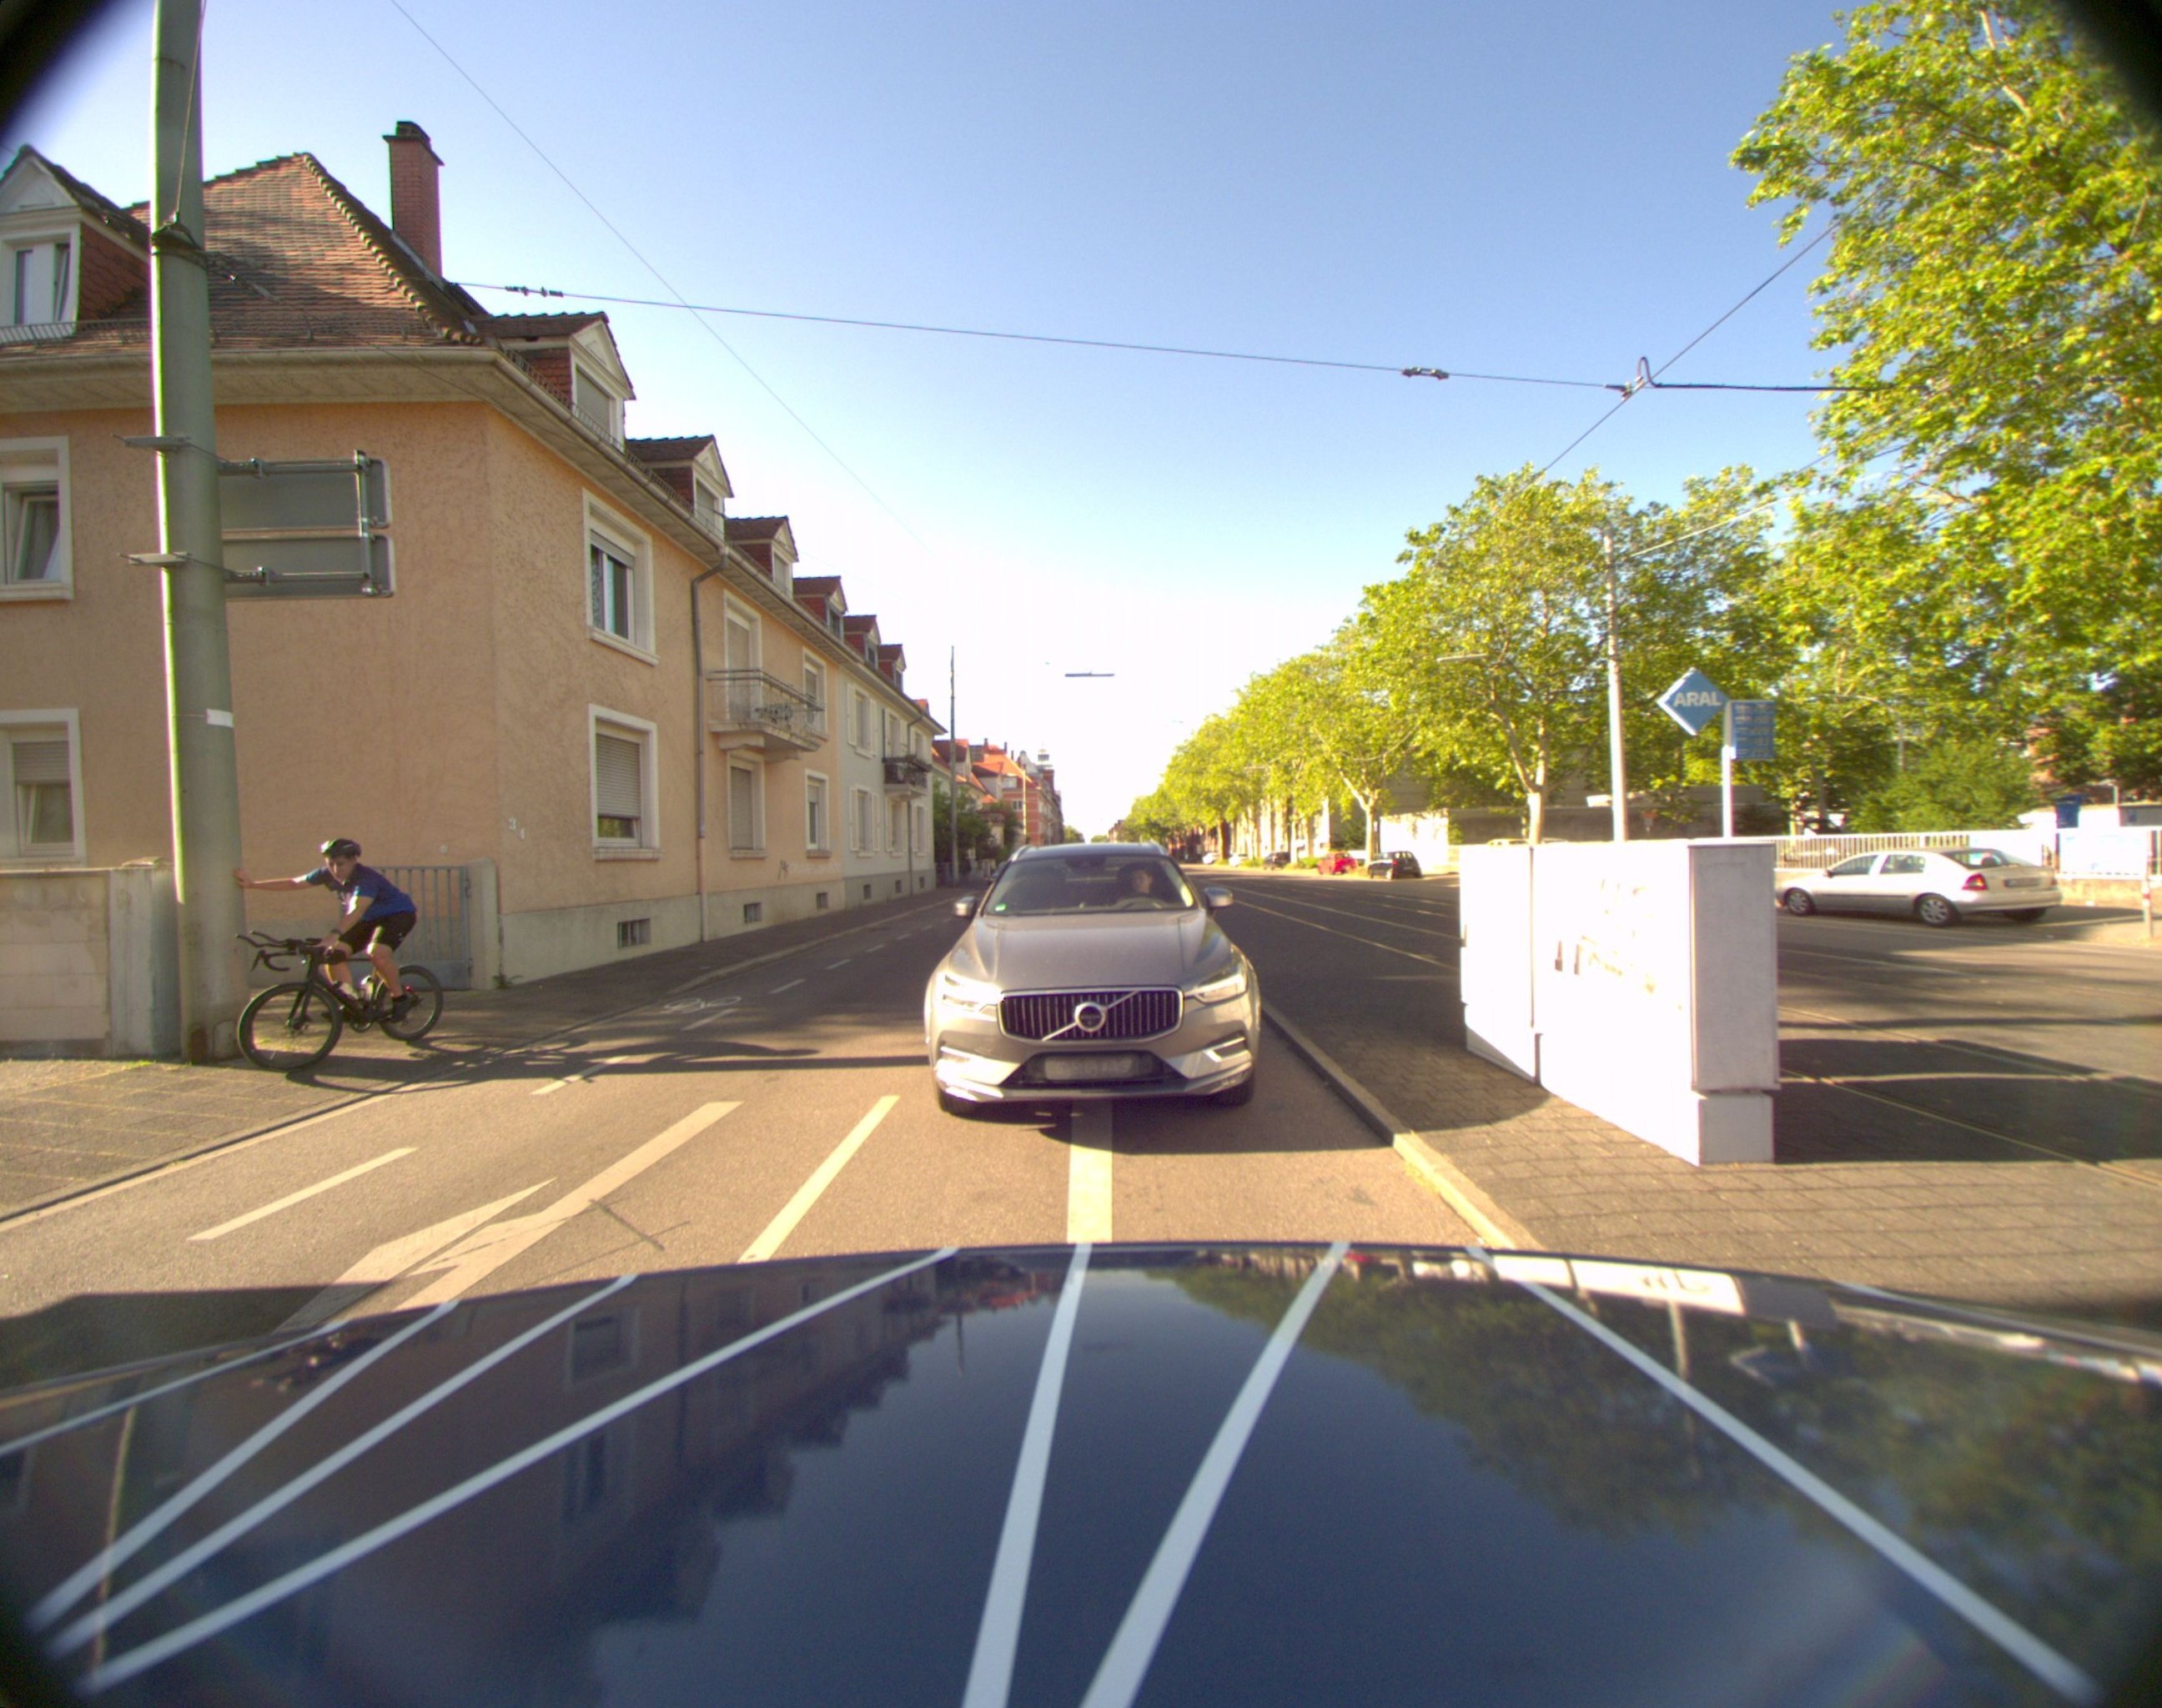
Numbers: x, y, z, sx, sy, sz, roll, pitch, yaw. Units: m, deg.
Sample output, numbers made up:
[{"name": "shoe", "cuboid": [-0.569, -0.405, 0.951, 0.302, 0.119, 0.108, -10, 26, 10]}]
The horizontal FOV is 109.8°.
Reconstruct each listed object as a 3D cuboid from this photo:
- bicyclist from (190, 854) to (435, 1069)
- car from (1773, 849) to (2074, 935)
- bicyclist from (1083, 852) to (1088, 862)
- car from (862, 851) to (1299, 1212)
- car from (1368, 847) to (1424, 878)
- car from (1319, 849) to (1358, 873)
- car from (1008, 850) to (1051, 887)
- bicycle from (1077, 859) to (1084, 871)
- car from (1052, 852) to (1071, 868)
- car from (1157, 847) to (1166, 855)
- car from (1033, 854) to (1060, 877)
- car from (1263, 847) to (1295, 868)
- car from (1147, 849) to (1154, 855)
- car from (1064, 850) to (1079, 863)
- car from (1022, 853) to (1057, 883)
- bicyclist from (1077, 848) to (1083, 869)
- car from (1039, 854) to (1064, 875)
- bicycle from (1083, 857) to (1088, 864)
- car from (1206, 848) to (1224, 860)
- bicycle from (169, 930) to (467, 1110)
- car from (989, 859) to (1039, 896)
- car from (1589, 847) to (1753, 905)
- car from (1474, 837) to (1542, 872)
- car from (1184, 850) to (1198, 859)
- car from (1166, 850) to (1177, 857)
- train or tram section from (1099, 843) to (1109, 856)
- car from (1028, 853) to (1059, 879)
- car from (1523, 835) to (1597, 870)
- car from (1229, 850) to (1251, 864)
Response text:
[{"name": "bicyclist", "cuboid": [-6.302, 0.830, 6.297, 1.051, 1.599, 0.885, 4, 0, 1]}, {"name": "car", "cuboid": [16.224, 0.647, 14.972, 1.695, 1.395, 3.813, -3, 0, 1]}, {"name": "bicyclist", "cuboid": [0.699, 0.487, 117.921, 0.685, 1.611, 0.855, -2, 1, 1]}, {"name": "car", "cuboid": [0.029, 0.835, 5.743, 1.998, 1.628, 4.306, -2, 0, 1]}, {"name": "car", "cuboid": [16.882, 0.435, 40.886, 1.599, 1.498, 3.304, -3, 0, 1]}, {"name": "car", "cuboid": [16.874, 0.443, 49.857, 1.599, 1.498, 2.622, -3, 0, 1]}, {"name": "car", "cuboid": [-2.827, 0.752, 42.809, 1.793, 1.828, 5.149, -3, 0, 2]}, {"name": "bicycle", "cuboid": [-0.081, 0.998, 70.809, 0.519, 1.084, 1.797, -1, -2, 3]}, {"name": "car", "cuboid": [-2.155, 0.648, 85.359, 1.793, 1.673, 3.814, -3, 0, 2]}, {"name": "car", "cuboid": [20.232, -0.713, 191.404, 1.695, 1.775, 3.749, -3, 0, 1]}, {"name": "car", "cuboid": [-2.723, 0.897, 61.019, 1.793, 1.673, 3.814, -3, 0, 2]}, {"name": "car", "cuboid": [17.134, 0.283, 65.879, 1.695, 1.648, 3.749, -3, 0, 1]}, {"name": "car", "cuboid": [19.647, -0.607, 214.798, 1.695, 1.775, 3.749, -3, 0, 1]}, {"name": "car", "cuboid": [-1.299, 0.378, 107.092, 1.793, 1.673, 3.814, -3, 0, 2]}, {"name": "car", "cuboid": [-2.588, 0.865, 48.474, 1.793, 1.673, 3.814, -3, 0, 2]}, {"name": "bicyclist", "cuboid": [-0.104, 0.438, 70.722, 0.519, 1.922, 0.946, -1, -2, 3]}, {"name": "car", "cuboid": [-2.555, 0.871, 67.064, 1.793, 1.673, 3.814, -3, 0, 2]}, {"name": "bicycle", "cuboid": [0.718, 0.963, 117.997, 0.685, 1.098, 1.806, -2, 1, 1]}, {"name": "car", "cuboid": [17.788, 0.037, 100.705, 1.695, 1.440, 3.749, -3, 0, 1]}, {"name": "bicycle", "cuboid": [-6.096, 1.258, 6.240, 0.592, 1.062, 1.775, 4, 0, 1]}, {"name": "car", "cuboid": [-3.225, 1.094, 37.036, 1.695, 1.571, 3.815, -3, 0, 5]}, {"name": "car", "cuboid": [16.409, 0.567, 21.407, 1.695, 1.395, 3.749, -3, 0, 1]}, {"name": "car", "cuboid": [21.544, 0.022, 38.464, 1.599, 1.606, 3.304, -2, 0, 1]}, {"name": "car", "cuboid": [18.193, 0.083, 125.513, 1.695, 1.440, 3.749, -3, 0, 1]}, {"name": "car", "cuboid": [19.261, -0.181, 161.867, 1.695, 1.440, 3.749, -3, 0, 1]}, {"name": "train or tram section", "cuboid": [6.808, -1.272, 224.659, 2.717, 3.643, 12.653, -1, 0, 0]}, {"name": "car", "cuboid": [-2.635, 0.846, 53.995, 1.793, 1.673, 3.814, -3, 0, 2]}, {"name": "car", "cuboid": [23.877, -0.074, 38.016, 1.599, 1.583, 3.304, -2, 0, 1]}, {"name": "car", "cuboid": [17.459, 0.303, 83.534, 1.695, 1.440, 3.749, -3, 0, 1]}]
